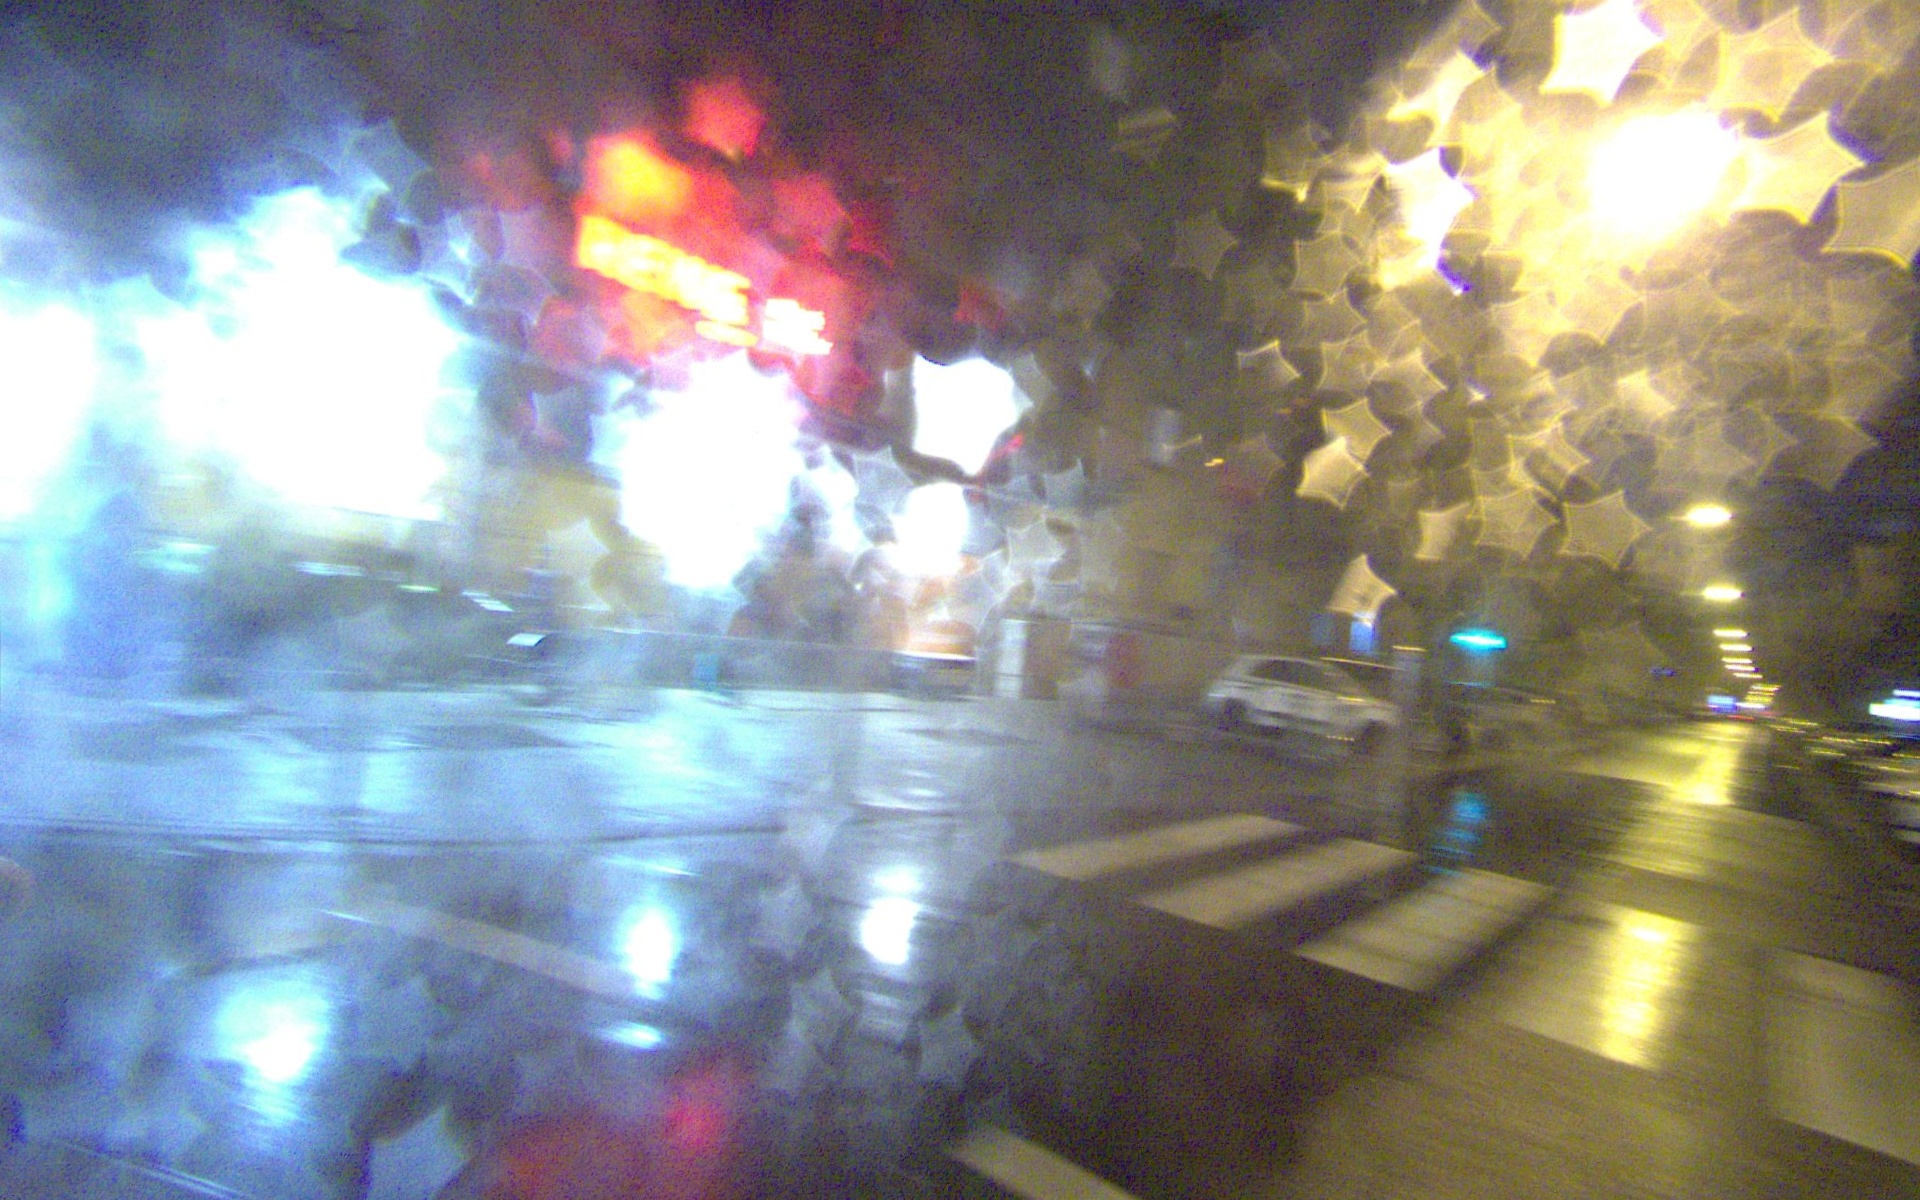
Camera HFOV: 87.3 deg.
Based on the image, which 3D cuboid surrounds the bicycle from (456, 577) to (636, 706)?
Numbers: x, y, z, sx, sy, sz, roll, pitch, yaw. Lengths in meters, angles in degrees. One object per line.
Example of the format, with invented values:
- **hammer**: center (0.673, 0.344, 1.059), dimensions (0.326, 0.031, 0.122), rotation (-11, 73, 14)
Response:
- **bicycle**: center (-4.302, 0.466, 10.566), dimensions (0.379, 1.187, 1.640), rotation (3, -4, 42)

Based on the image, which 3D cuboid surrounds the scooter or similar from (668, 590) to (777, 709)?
- **scooter or similar**: center (-2.879, 0.578, 12.137), dimensions (1.296, 1.244, 0.524), rotation (7, -1, 45)

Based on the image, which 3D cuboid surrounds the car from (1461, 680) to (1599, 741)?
- **car**: center (19.432, 3.749, 34.456), dimensions (3.622, 1.595, 1.760), rotation (6, -2, 14)

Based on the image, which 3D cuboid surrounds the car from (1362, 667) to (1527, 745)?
- **car**: center (13.139, 2.871, 27.495), dimensions (3.622, 1.595, 1.760), rotation (6, -2, 14)

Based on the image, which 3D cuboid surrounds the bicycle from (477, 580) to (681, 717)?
- **bicycle**: center (-3.672, 0.513, 9.843), dimensions (0.379, 1.188, 1.778), rotation (7, -1, 42)

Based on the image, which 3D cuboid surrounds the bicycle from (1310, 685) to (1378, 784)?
- **bicycle**: center (5.230, 1.791, 13.800), dimensions (0.443, 1.189, 1.968), rotation (6, -3, 12)

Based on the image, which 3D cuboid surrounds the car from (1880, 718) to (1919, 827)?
- **car**: center (18.203, 3.155, 16.400), dimensions (4.396, 1.783, 1.994), rotation (6, -2, 38)

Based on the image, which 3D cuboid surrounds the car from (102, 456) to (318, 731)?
- **car**: center (-5.538, -0.034, 7.440), dimensions (0.864, 1.863, 0.960), rotation (7, 0, 41)

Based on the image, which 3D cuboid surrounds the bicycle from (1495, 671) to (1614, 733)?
- **bicycle**: center (25.696, 4.380, 43.659), dimensions (3.926, 2.038, 2.000), rotation (7, 0, 20)

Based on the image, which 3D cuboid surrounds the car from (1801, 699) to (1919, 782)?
- **car**: center (27.303, 4.190, 29.419), dimensions (3.948, 2.036, 1.991), rotation (4, -4, 44)

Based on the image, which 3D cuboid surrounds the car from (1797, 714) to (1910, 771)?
- **car**: center (44.167, 7.011, 49.846), dimensions (3.944, 2.038, 1.991), rotation (7, 0, 42)

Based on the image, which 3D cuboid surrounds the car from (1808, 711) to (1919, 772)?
- **car**: center (40.744, 6.337, 45.112), dimensions (3.944, 2.038, 1.991), rotation (7, 0, 42)

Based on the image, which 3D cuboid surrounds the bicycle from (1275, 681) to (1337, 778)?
- **bicycle**: center (4.740, 1.735, 13.874), dimensions (0.443, 1.189, 1.968), rotation (6, -3, 12)

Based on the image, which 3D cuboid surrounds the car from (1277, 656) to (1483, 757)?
- **car**: center (8.736, 2.206, 21.230), dimensions (3.622, 1.595, 1.760), rotation (6, -2, 14)

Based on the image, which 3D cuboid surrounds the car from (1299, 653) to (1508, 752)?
- **car**: center (10.130, 2.335, 23.287), dimensions (4.029, 1.681, 1.759), rotation (6, -2, 14)

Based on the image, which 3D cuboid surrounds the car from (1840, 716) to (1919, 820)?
- **car**: center (19.445, 3.388, 18.675), dimensions (4.396, 1.783, 1.994), rotation (6, -2, 38)

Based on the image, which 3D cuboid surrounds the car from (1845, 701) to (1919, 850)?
- **car**: center (15.242, 2.675, 12.961), dimensions (5.465, 1.912, 1.994), rotation (6, -2, 38)

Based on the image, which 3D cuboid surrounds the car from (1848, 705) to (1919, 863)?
- **car**: center (13.497, 2.452, 11.276), dimensions (5.021, 1.783, 1.994), rotation (6, -2, 38)

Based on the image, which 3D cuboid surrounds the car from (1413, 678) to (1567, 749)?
- **car**: center (15.804, 3.371, 30.191), dimensions (3.622, 1.595, 1.760), rotation (6, -2, 14)

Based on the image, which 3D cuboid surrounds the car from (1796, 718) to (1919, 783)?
- **car**: center (28.965, 4.783, 31.605), dimensions (3.948, 1.569, 1.991), rotation (4, -4, 44)

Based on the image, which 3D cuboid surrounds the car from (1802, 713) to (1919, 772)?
- **car**: center (42.462, 6.677, 47.508), dimensions (3.944, 2.038, 1.991), rotation (7, 0, 42)

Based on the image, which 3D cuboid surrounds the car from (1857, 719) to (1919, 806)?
- **car**: center (22.653, 3.816, 21.879), dimensions (4.396, 1.783, 1.994), rotation (6, -2, 38)

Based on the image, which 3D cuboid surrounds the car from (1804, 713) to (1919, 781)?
- **car**: center (30.558, 4.919, 33.187), dimensions (3.948, 1.793, 1.991), rotation (4, -3, 44)

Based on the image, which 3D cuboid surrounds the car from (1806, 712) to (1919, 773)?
- **car**: center (33.801, 5.283, 36.955), dimensions (3.948, 1.792, 1.991), rotation (4, -3, 44)

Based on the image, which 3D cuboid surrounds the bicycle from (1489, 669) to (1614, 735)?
- **bicycle**: center (24.191, 4.150, 41.305), dimensions (3.926, 2.038, 2.000), rotation (7, 0, 20)

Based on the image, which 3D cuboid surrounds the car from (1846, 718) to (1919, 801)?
- **car**: center (23.991, 4.006, 23.693), dimensions (4.396, 1.783, 1.994), rotation (6, -2, 38)

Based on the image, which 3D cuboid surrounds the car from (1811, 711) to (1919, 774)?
- **car**: center (38.814, 6.052, 42.700), dimensions (3.944, 2.038, 1.991), rotation (7, 0, 42)

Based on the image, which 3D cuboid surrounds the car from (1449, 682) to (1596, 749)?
- **car**: center (17.844, 3.637, 32.099), dimensions (3.622, 1.595, 1.760), rotation (6, -2, 14)

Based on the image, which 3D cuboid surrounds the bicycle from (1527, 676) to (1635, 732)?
- **bicycle**: center (30.541, 5.091, 49.613), dimensions (3.924, 2.038, 2.001), rotation (7, 0, 14)

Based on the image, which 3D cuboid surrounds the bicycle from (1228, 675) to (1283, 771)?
- **bicycle**: center (4.078, 1.660, 13.986), dimensions (0.443, 1.189, 1.968), rotation (6, -3, 12)

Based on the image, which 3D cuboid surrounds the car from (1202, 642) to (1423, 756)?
- **car**: center (6.512, 1.836, 18.991), dimensions (3.622, 1.595, 1.760), rotation (6, -2, 14)
